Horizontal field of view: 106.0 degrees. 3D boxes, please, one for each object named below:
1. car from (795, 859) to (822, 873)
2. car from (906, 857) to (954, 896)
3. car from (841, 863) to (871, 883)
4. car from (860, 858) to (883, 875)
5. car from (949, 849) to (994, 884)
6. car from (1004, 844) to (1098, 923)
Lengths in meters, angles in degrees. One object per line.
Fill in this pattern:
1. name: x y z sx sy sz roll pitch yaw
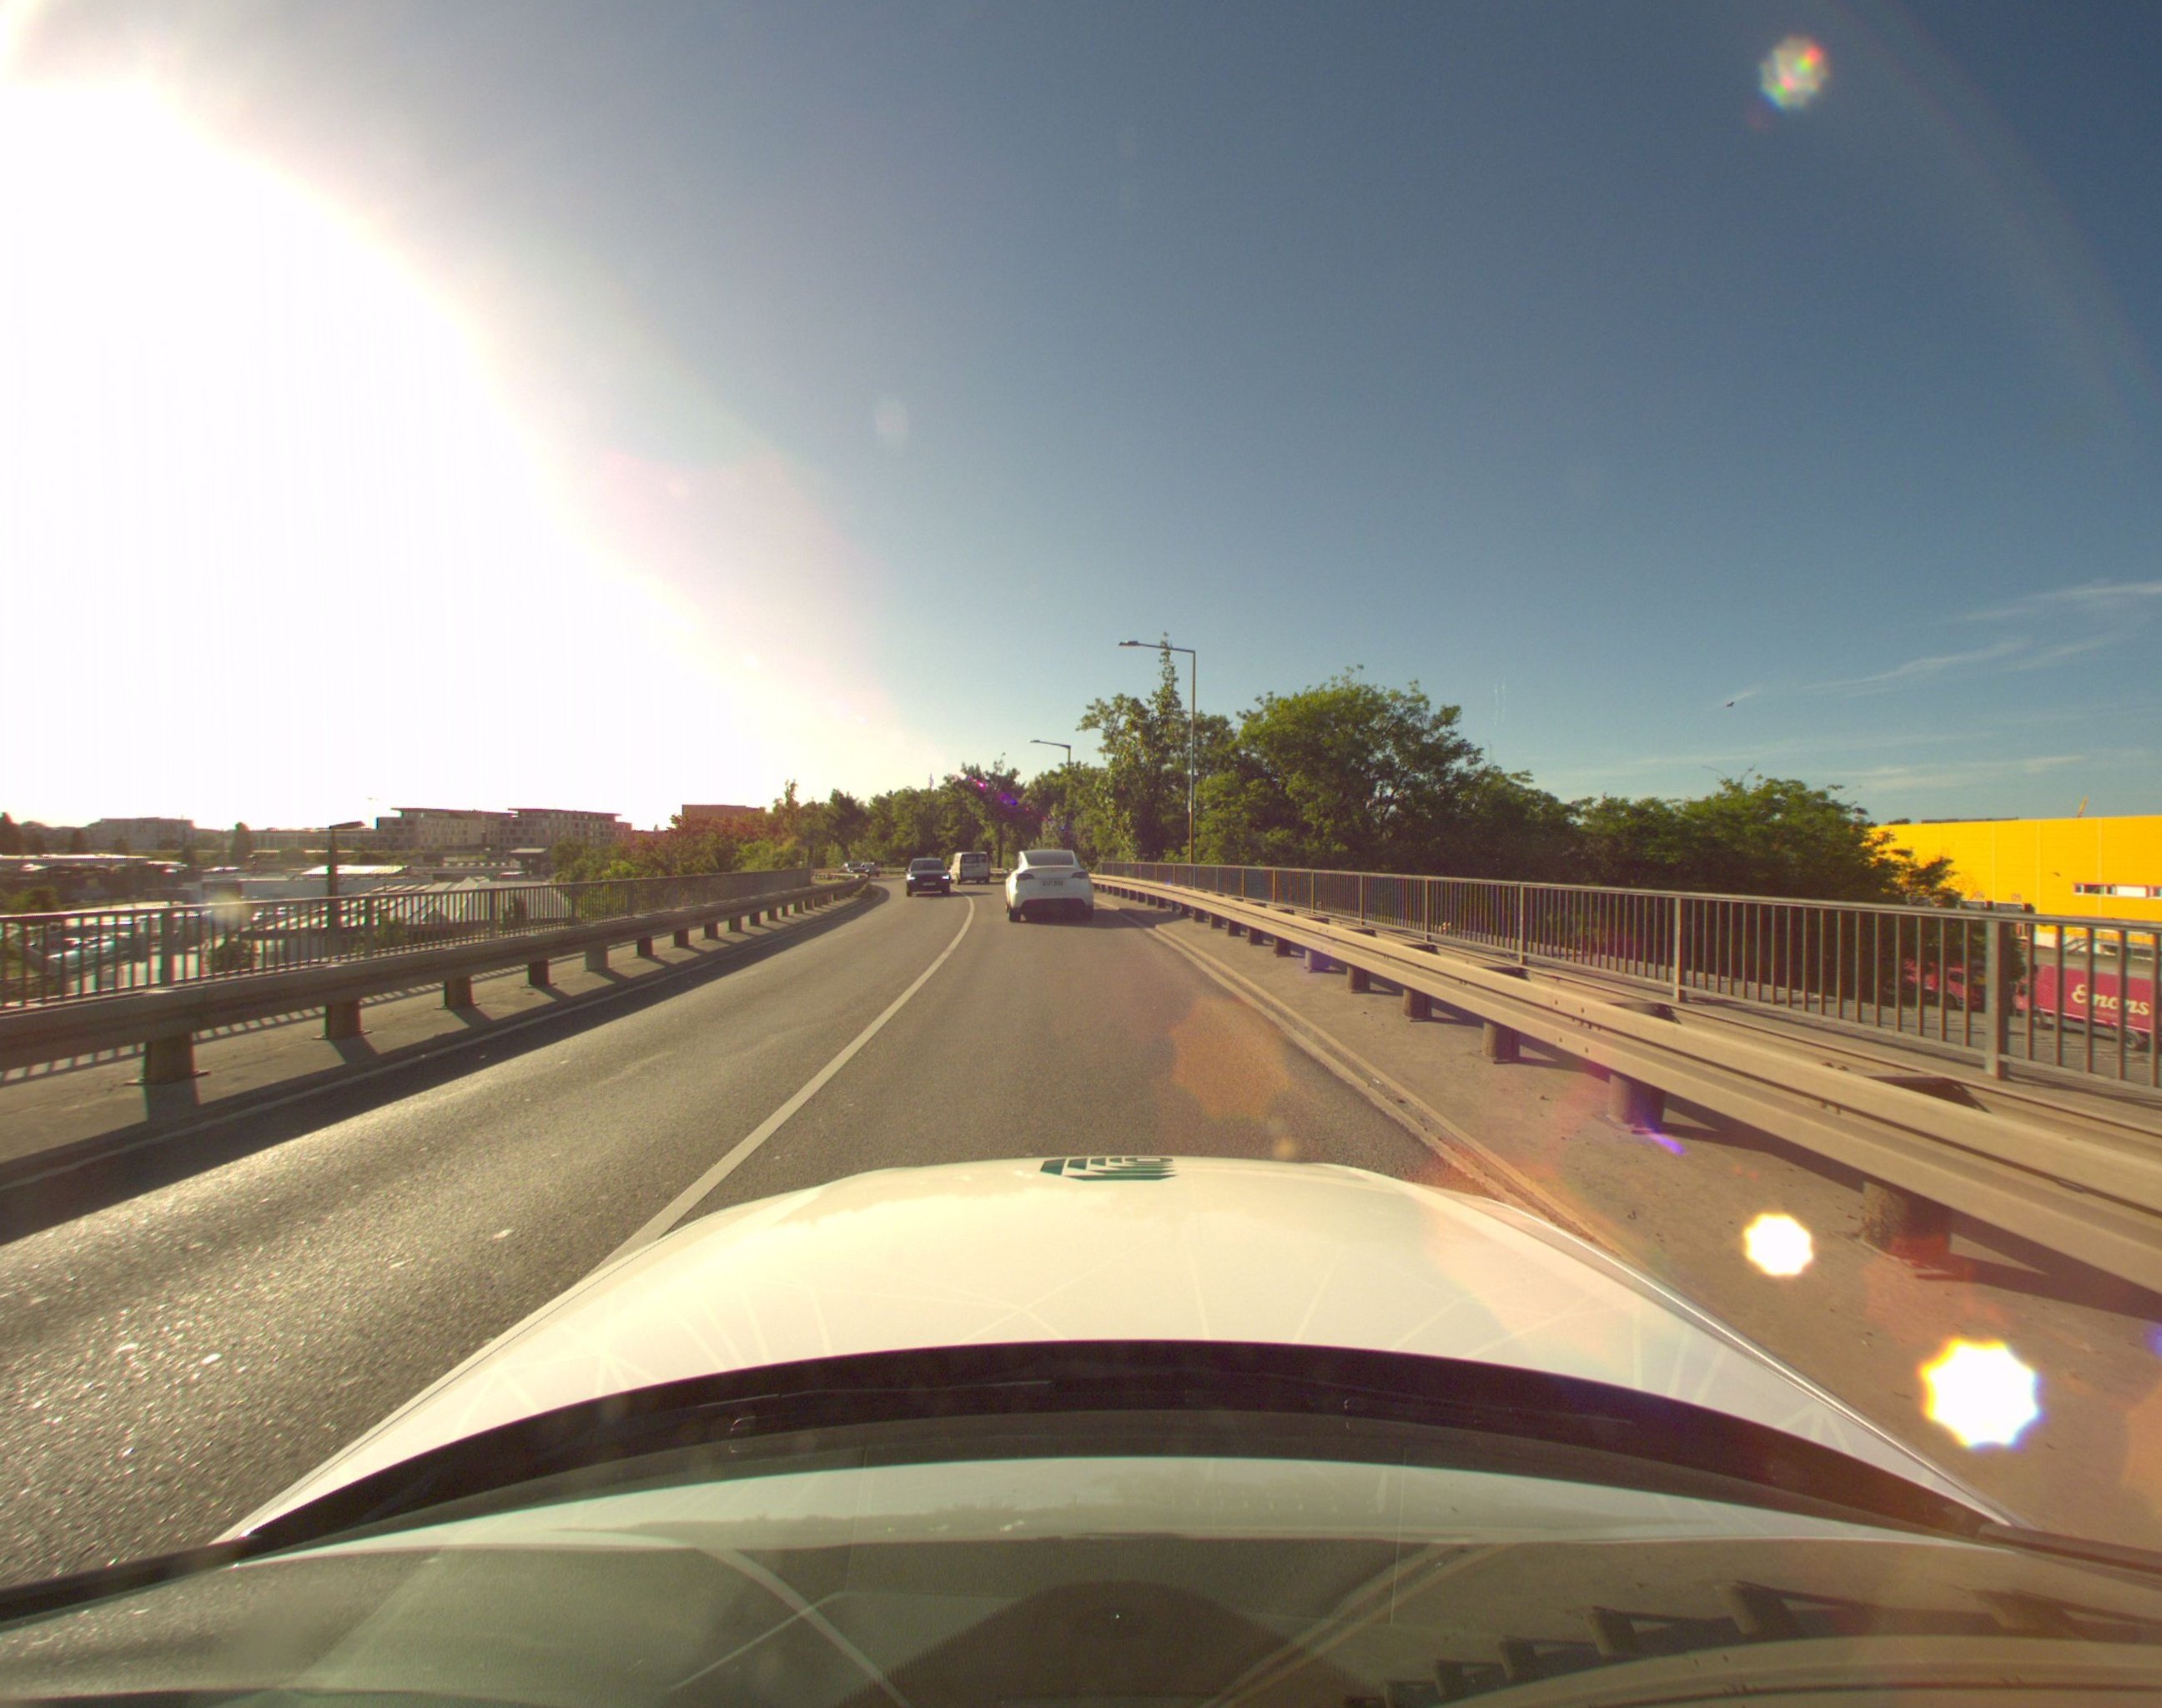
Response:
1. car: -34.296 1.512 102.384 1.852 1.555 3.846 -2 0 -42
2. car: -6.622 0.926 35.389 1.826 1.552 4.166 -2 0 -13
3. car: -20.308 1.680 73.356 1.907 1.643 4.428 -2 0 -24
4. car: -21.635 1.288 83.981 1.865 1.585 3.888 -2 0 -20
5. car: -6.565 0.718 48.487 2.009 1.940 4.443 -2 0 -16
6. car: -0.831 0.642 19.593 1.983 1.638 4.054 -2 0 -6
